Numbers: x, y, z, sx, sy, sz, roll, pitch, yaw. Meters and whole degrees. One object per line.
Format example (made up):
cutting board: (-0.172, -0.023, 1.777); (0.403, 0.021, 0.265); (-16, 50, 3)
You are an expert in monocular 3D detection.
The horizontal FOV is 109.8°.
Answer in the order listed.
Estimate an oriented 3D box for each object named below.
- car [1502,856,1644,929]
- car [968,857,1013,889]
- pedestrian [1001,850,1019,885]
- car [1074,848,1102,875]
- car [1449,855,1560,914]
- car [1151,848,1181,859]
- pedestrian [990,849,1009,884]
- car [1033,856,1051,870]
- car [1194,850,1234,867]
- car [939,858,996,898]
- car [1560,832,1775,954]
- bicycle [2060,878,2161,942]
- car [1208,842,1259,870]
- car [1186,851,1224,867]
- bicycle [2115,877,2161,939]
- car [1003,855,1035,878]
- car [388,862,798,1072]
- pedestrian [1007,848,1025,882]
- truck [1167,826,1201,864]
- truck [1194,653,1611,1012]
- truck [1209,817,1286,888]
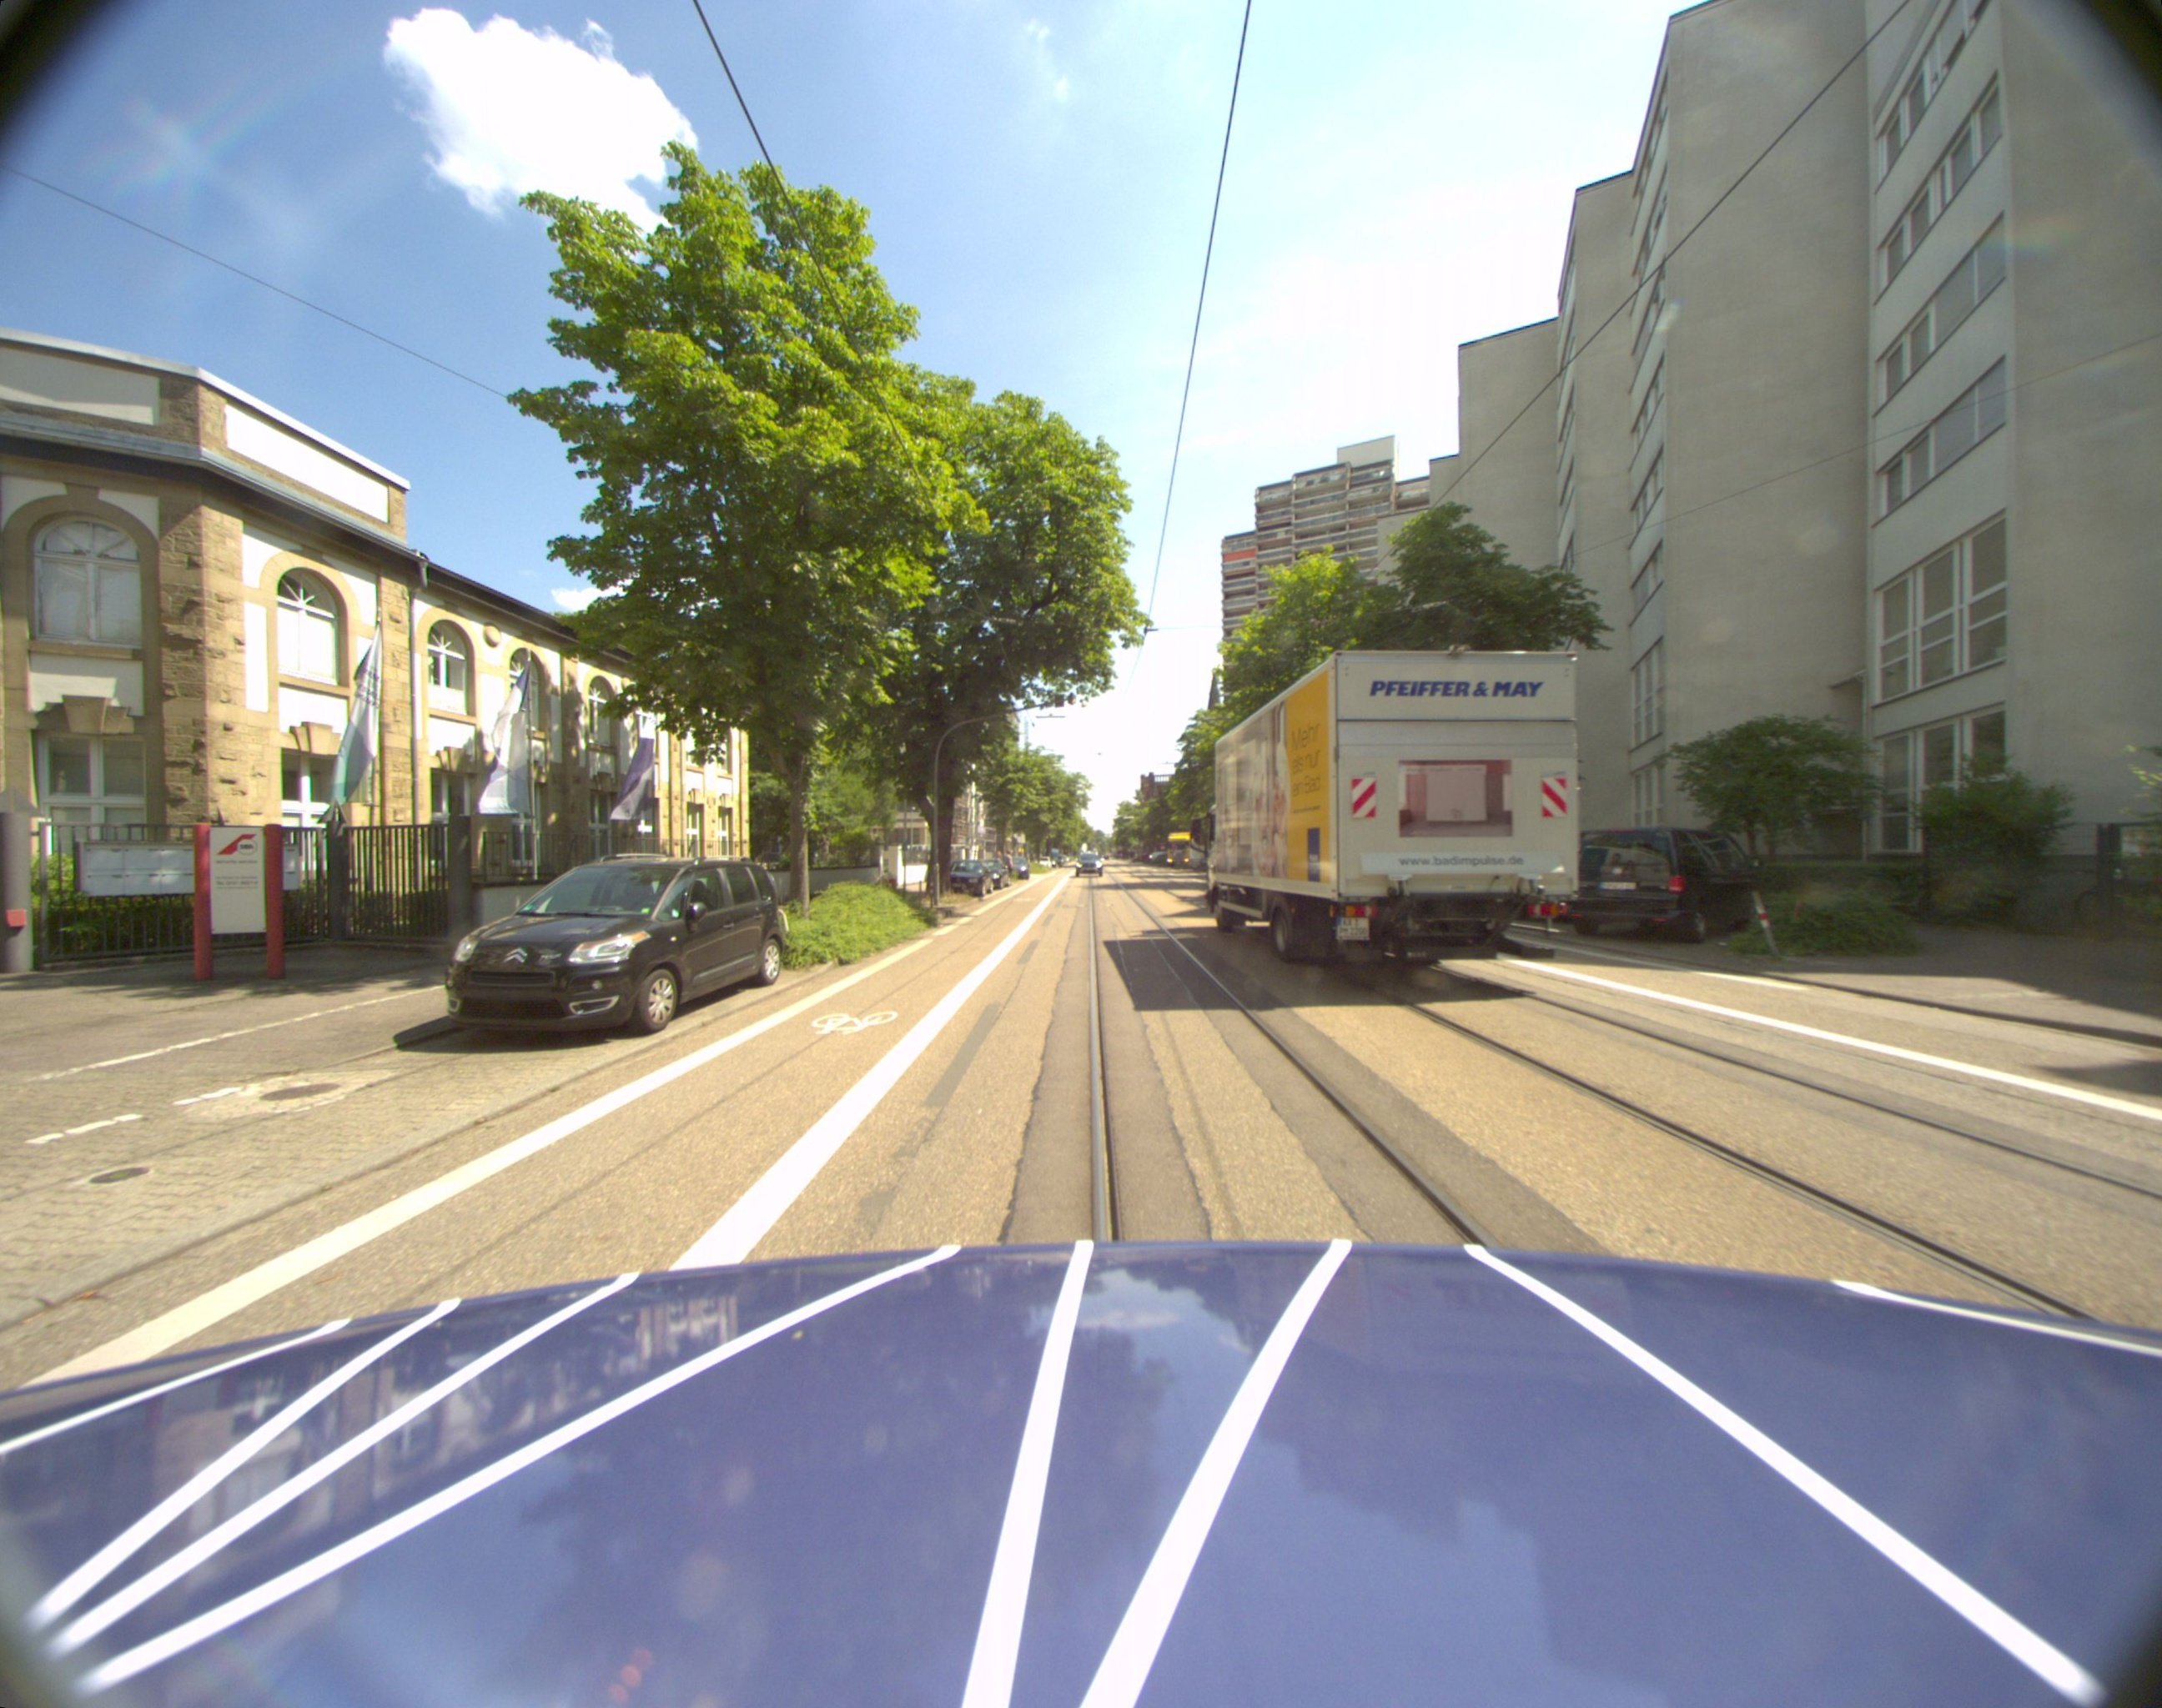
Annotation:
car: (11.429, 0.802, 17.563); (3.953, 1.445, 1.678); (-1, 1, -40)
car: (-4.310, 0.885, 36.669); (1.626, 1.395, 4.000); (2, 0, 1)
pedestrian: (-3.676, 0.695, 39.496); (0.645, 1.839, 0.741); (0, 1, 18)
car: (0.495, 0.476, 51.664); (1.752, 1.641, 4.297); (-2, 0, 1)
car: (11.599, 0.760, 20.714); (1.721, 1.445, 3.635); (0, 1, 45)
car: (13.275, -0.098, 119.131); (4.337, 1.797, 1.995); (-1, 1, -32)
pedestrian: (-4.301, 0.640, 40.058); (0.645, 1.839, 0.741); (0, 1, 27)
car: (-4.245, 0.965, 83.504); (1.626, 1.395, 4.000); (2, 0, 1)
car: (11.685, 0.401, 66.791); (1.678, 1.411, 3.682); (0, 1, 45)
car: (-4.428, 0.892, 30.179); (1.626, 1.395, 3.823); (2, 0, 1)
car: (10.972, 0.590, 14.113); (4.595, 1.914, 1.957); (-1, 1, -36)
bicycle: (17.711, 0.933, 13.039); (0.471, 0.991, 1.452); (0, 1, 24)
car: (12.098, 0.121, 59.975); (1.873, 2.095, 4.596); (0, 1, 42)
car: (11.454, 0.456, 69.997); (1.678, 1.445, 3.682); (0, 1, 45)
bicycle: (18.329, 0.915, 12.751); (0.497, 0.991, 1.452); (0, 1, 24)
car: (-3.984, 0.774, 49.073); (1.626, 1.395, 4.000); (2, 0, 1)
car: (-4.747, 0.941, 8.234); (1.734, 1.607, 4.084); (2, 0, 1)
pedestrian: (-3.514, 0.578, 41.020); (0.741, 1.839, 0.645); (-1, 1, -25)
truck: (12.194, -1.046, 89.042); (2.672, 4.156, 10.484); (0, 0, 14)
truck: (3.878, -0.242, 11.795); (2.792, 3.598, 8.254); (-1, 0, -1)
truck: (7.476, -0.080, 34.854); (2.306, 2.903, 6.516); (0, 0, 2)
